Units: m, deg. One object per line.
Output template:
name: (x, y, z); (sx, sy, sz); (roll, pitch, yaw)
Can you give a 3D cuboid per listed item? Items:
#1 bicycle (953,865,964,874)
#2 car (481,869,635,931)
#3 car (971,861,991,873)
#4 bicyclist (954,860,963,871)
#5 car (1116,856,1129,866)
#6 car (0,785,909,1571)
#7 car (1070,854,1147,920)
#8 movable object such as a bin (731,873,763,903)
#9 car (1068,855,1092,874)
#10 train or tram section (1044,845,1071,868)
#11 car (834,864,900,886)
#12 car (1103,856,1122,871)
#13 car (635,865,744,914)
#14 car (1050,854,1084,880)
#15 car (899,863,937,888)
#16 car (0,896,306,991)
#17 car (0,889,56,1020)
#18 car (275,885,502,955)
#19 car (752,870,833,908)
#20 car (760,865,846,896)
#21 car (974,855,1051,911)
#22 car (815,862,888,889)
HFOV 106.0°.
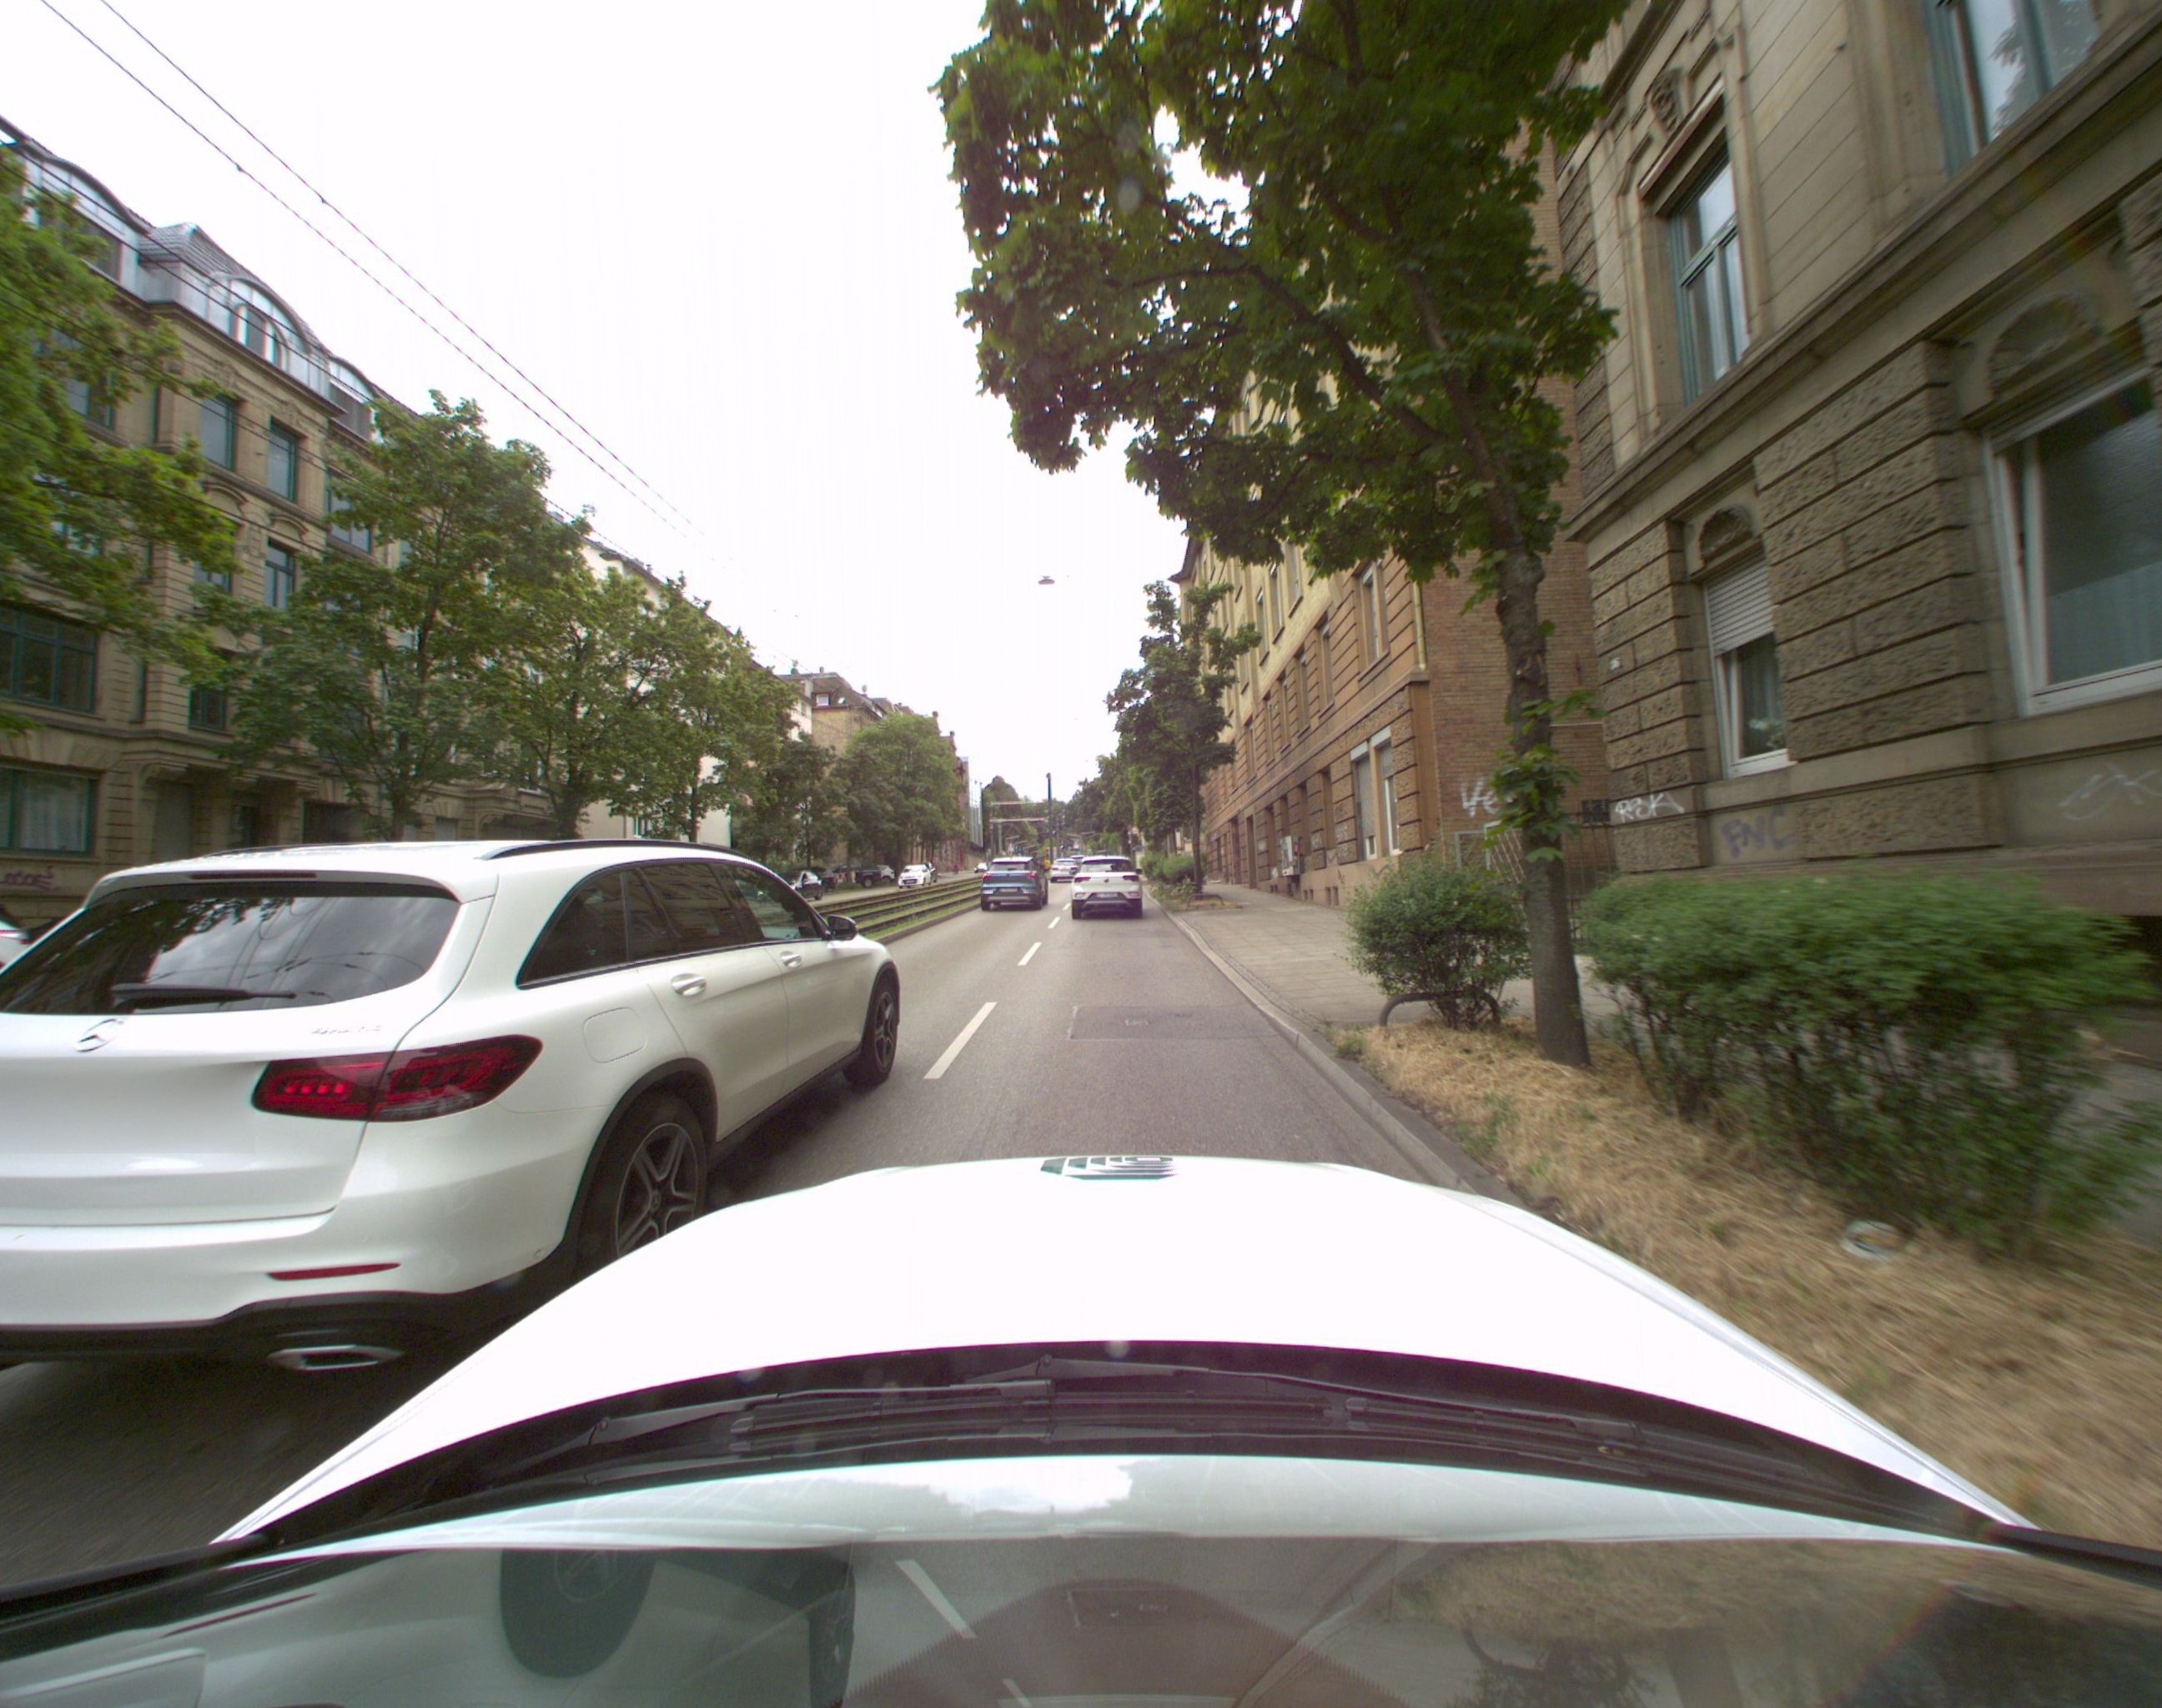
bicycle: (-16.674, 2.083, 110.684); (0.934, 1.100, 2.704); (-2, 0, 2)
car: (-17.645, 1.503, 27.757); (4.202, 1.767, 1.855); (-3, 0, -28)
car: (-13.497, 1.731, 110.244); (1.985, 1.403, 4.003); (-2, 0, 3)
bicyclist: (-16.703, 1.562, 110.731); (0.934, 1.425, 1.188); (-2, 0, 2)
car: (6.850, 1.193, 133.335); (2.060, 1.546, 4.196); (-1, 0, 2)
car: (-2.348, 0.714, 4.086); (1.829, 1.667, 4.672); (-1, 0, 2)
car: (0.705, 0.795, 21.588); (1.829, 1.546, 4.194); (-1, 0, 1)
movable object such as a bin: (-16.080, 1.615, 39.245); (1.276, 1.401, 1.091); (-1, -1, -14)
car: (-0.041, 0.886, 70.932); (1.828, 1.546, 4.196); (-1, 0, 2)
train or tram section: (-3.585, 0.460, 128.275); (2.983, 3.349, 13.449); (-2, 0, 3)
car: (-16.792, 1.622, 63.954); (4.623, 1.617, 1.917); (-1, -1, -32)
car: (3.532, 1.034, 91.192); (2.060, 1.546, 4.196); (-1, 0, 2)
car: (-17.304, 1.536, 36.201); (4.199, 1.836, 1.856); (-3, 0, -25)
car: (-0.832, 0.776, 50.911); (1.828, 1.546, 4.196); (-1, 0, 2)
car: (-10.444, 1.366, 52.374); (1.582, 1.435, 3.413); (-4, 0, 1)
car: (-18.318, 1.683, 15.882); (4.198, 1.435, 1.856); (-3, 0, -25)
car: (-14.493, 1.322, 8.557); (1.773, 1.616, 4.348); (-4, 0, 2)
car: (-18.103, 1.677, 21.585); (4.202, 1.435, 1.855); (-3, 0, -28)
car: (-13.028, 1.543, 37.054); (1.859, 1.435, 4.495); (-5, -1, 1)
car: (-16.736, 1.548, 49.034); (4.622, 1.682, 1.917); (-1, -1, -31)
car: (-2.034, 0.835, 25.313); (1.828, 1.546, 4.196); (-1, 0, 2)
car: (-16.330, 1.531, 58.047); (4.634, 1.797, 1.912); (0, -1, -45)
